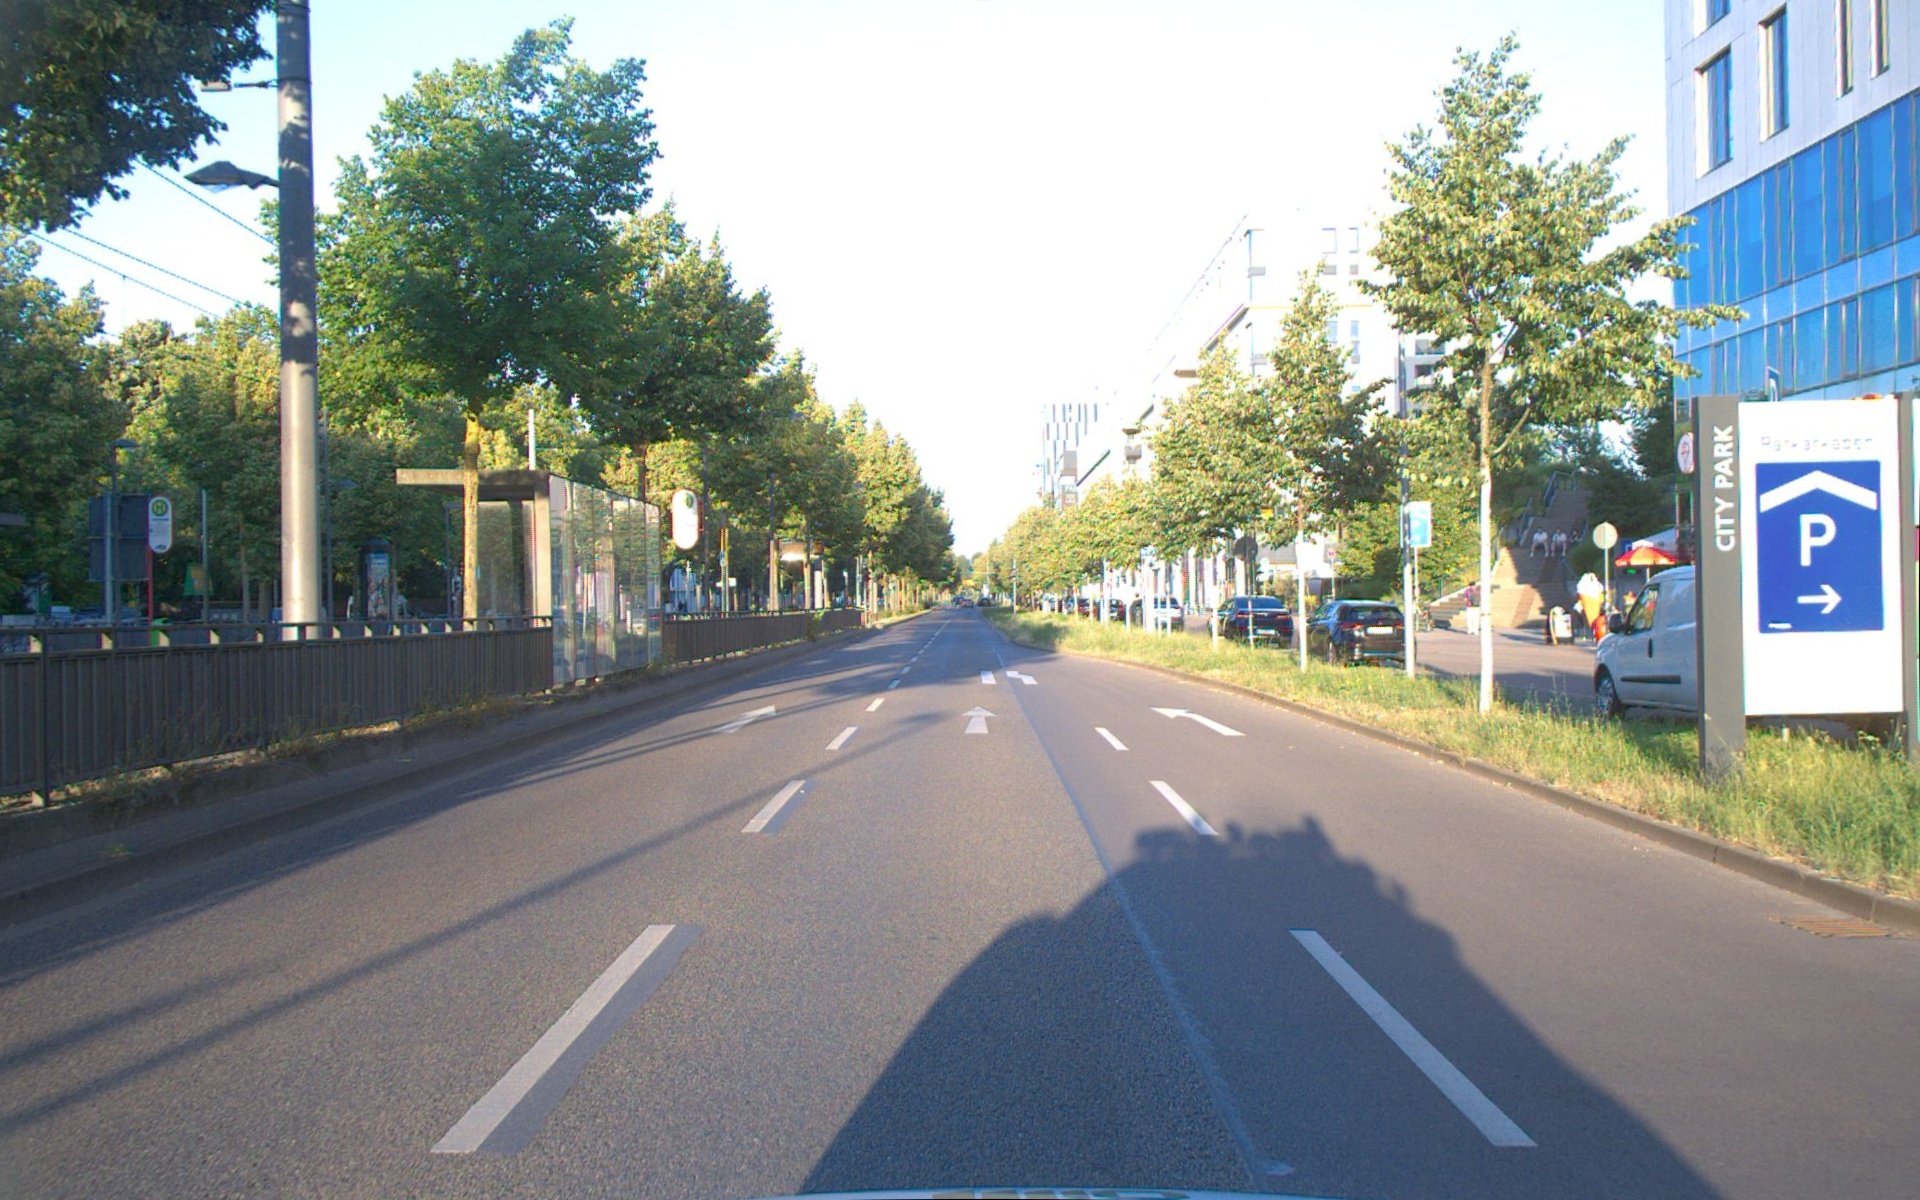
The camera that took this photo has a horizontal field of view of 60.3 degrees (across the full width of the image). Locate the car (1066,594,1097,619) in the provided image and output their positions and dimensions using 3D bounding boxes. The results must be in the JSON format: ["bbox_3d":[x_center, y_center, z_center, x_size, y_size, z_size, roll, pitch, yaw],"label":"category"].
[{"bbox_3d":[8.786,0.460,119.637,1.856,1.802,3.946,-1,0,-1],"label":"car"}]

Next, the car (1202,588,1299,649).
[{"bbox_3d":[8.728,0.522,50.008,1.953,1.726,4.592,1,0,-2],"label":"car"}]

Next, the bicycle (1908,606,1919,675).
[{"bbox_3d":[15.353,0.632,25.236,0.621,1.086,2.123,-1,0,3],"label":"bicycle"}]

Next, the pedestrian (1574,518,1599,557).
[{"bbox_3d":[24.912,-2.472,65.738,0.796,1.481,1.112,-2,-1,26],"label":"pedestrian"}]

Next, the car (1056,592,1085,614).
[{"bbox_3d":[8.430,0.207,126.436,1.737,1.664,3.558,-1,0,-5],"label":"car"}]

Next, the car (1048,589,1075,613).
[{"bbox_3d":[8.702,0.076,141.670,1.953,2.049,3.999,-1,0,-1],"label":"car"}]

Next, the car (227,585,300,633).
[{"bbox_3d":[-33.564,0.439,79.831,1.738,2.223,4.000,-1,0,1],"label":"car"}]

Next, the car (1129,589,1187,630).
[{"bbox_3d":[8.672,0.414,72.926,1.953,1.726,4.414,1,0,-1],"label":"car"}]

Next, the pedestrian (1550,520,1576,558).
[{"bbox_3d":[24.162,-2.440,66.272,0.796,1.481,1.112,-2,-1,26],"label":"pedestrian"}]

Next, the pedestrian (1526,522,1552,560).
[{"bbox_3d":[23.391,-2.368,66.811,0.796,1.481,1.112,-2,-1,26],"label":"pedestrian"}]

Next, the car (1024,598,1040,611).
[{"bbox_3d":[9.066,0.575,208.438,1.661,1.624,3.999,-2,0,-1],"label":"car"}]

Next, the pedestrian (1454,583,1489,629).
[{"bbox_3d":[16.668,0.190,53.934,0.808,1.467,1.055,-1,2,-1],"label":"pedestrian"}]

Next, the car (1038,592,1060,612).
[{"bbox_3d":[8.985,0.193,166.829,1.953,2.049,3.999,-1,0,-1],"label":"car"}]

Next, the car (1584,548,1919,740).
[{"bbox_3d":[8.685,0.435,18.469,1.813,1.860,4.395,1,0,1],"label":"car"}]

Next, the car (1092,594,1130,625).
[{"bbox_3d":[8.722,0.543,95.913,1.987,1.726,4.399,1,0,3],"label":"car"}]

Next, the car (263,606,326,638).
[{"bbox_3d":[-40.295,1.307,100.278,1.867,1.847,4.222,-2,0,3],"label":"car"}]

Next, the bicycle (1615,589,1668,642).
[{"bbox_3d":[15.460,0.340,37.547,0.481,1.175,1.636,-1,0,-2],"label":"bicycle"}]

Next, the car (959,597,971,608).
[{"bbox_3d":[0.699,0.383,243.532,1.661,1.624,3.999,-2,0,-1],"label":"car"}]

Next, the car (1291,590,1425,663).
[{"bbox_3d":[8.570,0.545,35.994,1.787,1.460,4.459,1,0,-1],"label":"car"}]
